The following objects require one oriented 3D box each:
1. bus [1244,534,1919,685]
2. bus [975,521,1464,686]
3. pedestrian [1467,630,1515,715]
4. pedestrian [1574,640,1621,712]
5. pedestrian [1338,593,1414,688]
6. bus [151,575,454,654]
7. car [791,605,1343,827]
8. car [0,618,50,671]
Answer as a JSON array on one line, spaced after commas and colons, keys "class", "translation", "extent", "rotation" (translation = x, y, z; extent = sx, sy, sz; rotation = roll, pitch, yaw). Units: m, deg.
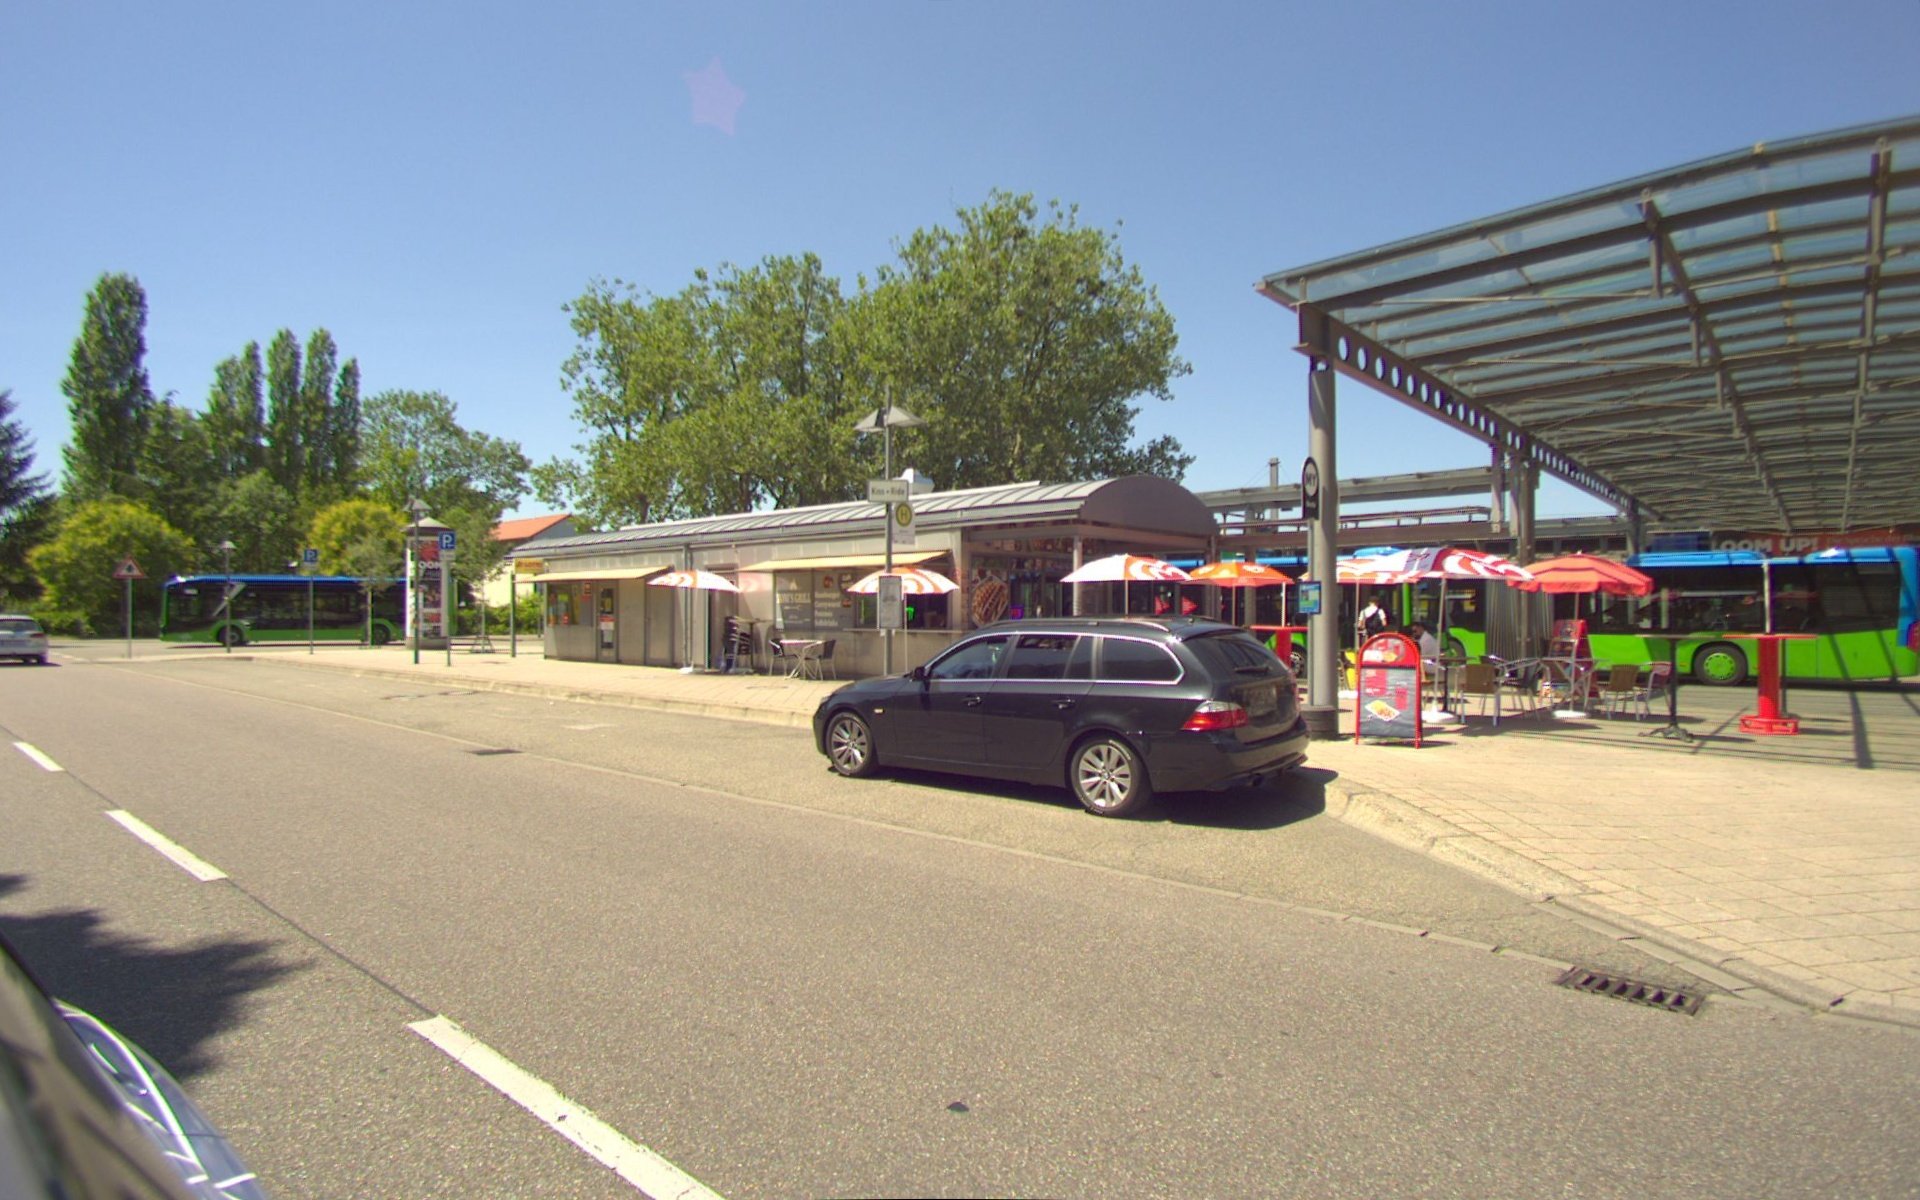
[{"class": "bus", "translation": [15.219, 0.349, 26.681], "extent": [2.834, 3.060, 15.524], "rotation": [1, -2, -45]}, {"class": "bus", "translation": [5.720, 0.200, 25.150], "extent": [11.847, 3.258, 2.933], "rotation": [-1, -2, 43]}, {"class": "pedestrian", "translation": [7.251, 0.977, 13.825], "extent": [0.365, 1.131, 0.427], "rotation": [1, -1, -15]}, {"class": "pedestrian", "translation": [8.591, 1.019, 13.648], "extent": [0.421, 0.930, 0.370], "rotation": [1, 0, 12]}, {"class": "pedestrian", "translation": [8.409, 0.791, 20.469], "extent": [0.788, 1.841, 1.145], "rotation": [1, 0, -32]}, {"class": "bus", "translation": [-31.036, 0.638, 48.559], "extent": [12.010, 3.553, 2.176], "rotation": [0, -1, -23]}, {"class": "car", "translation": [0.711, 0.819, 9.016], "extent": [4.782, 1.489, 1.701], "rotation": [-1, -2, 40]}, {"class": "car", "translation": [-27.891, 1.288, 29.328], "extent": [4.157, 1.455, 1.796], "rotation": [-2, -2, 42]}]
